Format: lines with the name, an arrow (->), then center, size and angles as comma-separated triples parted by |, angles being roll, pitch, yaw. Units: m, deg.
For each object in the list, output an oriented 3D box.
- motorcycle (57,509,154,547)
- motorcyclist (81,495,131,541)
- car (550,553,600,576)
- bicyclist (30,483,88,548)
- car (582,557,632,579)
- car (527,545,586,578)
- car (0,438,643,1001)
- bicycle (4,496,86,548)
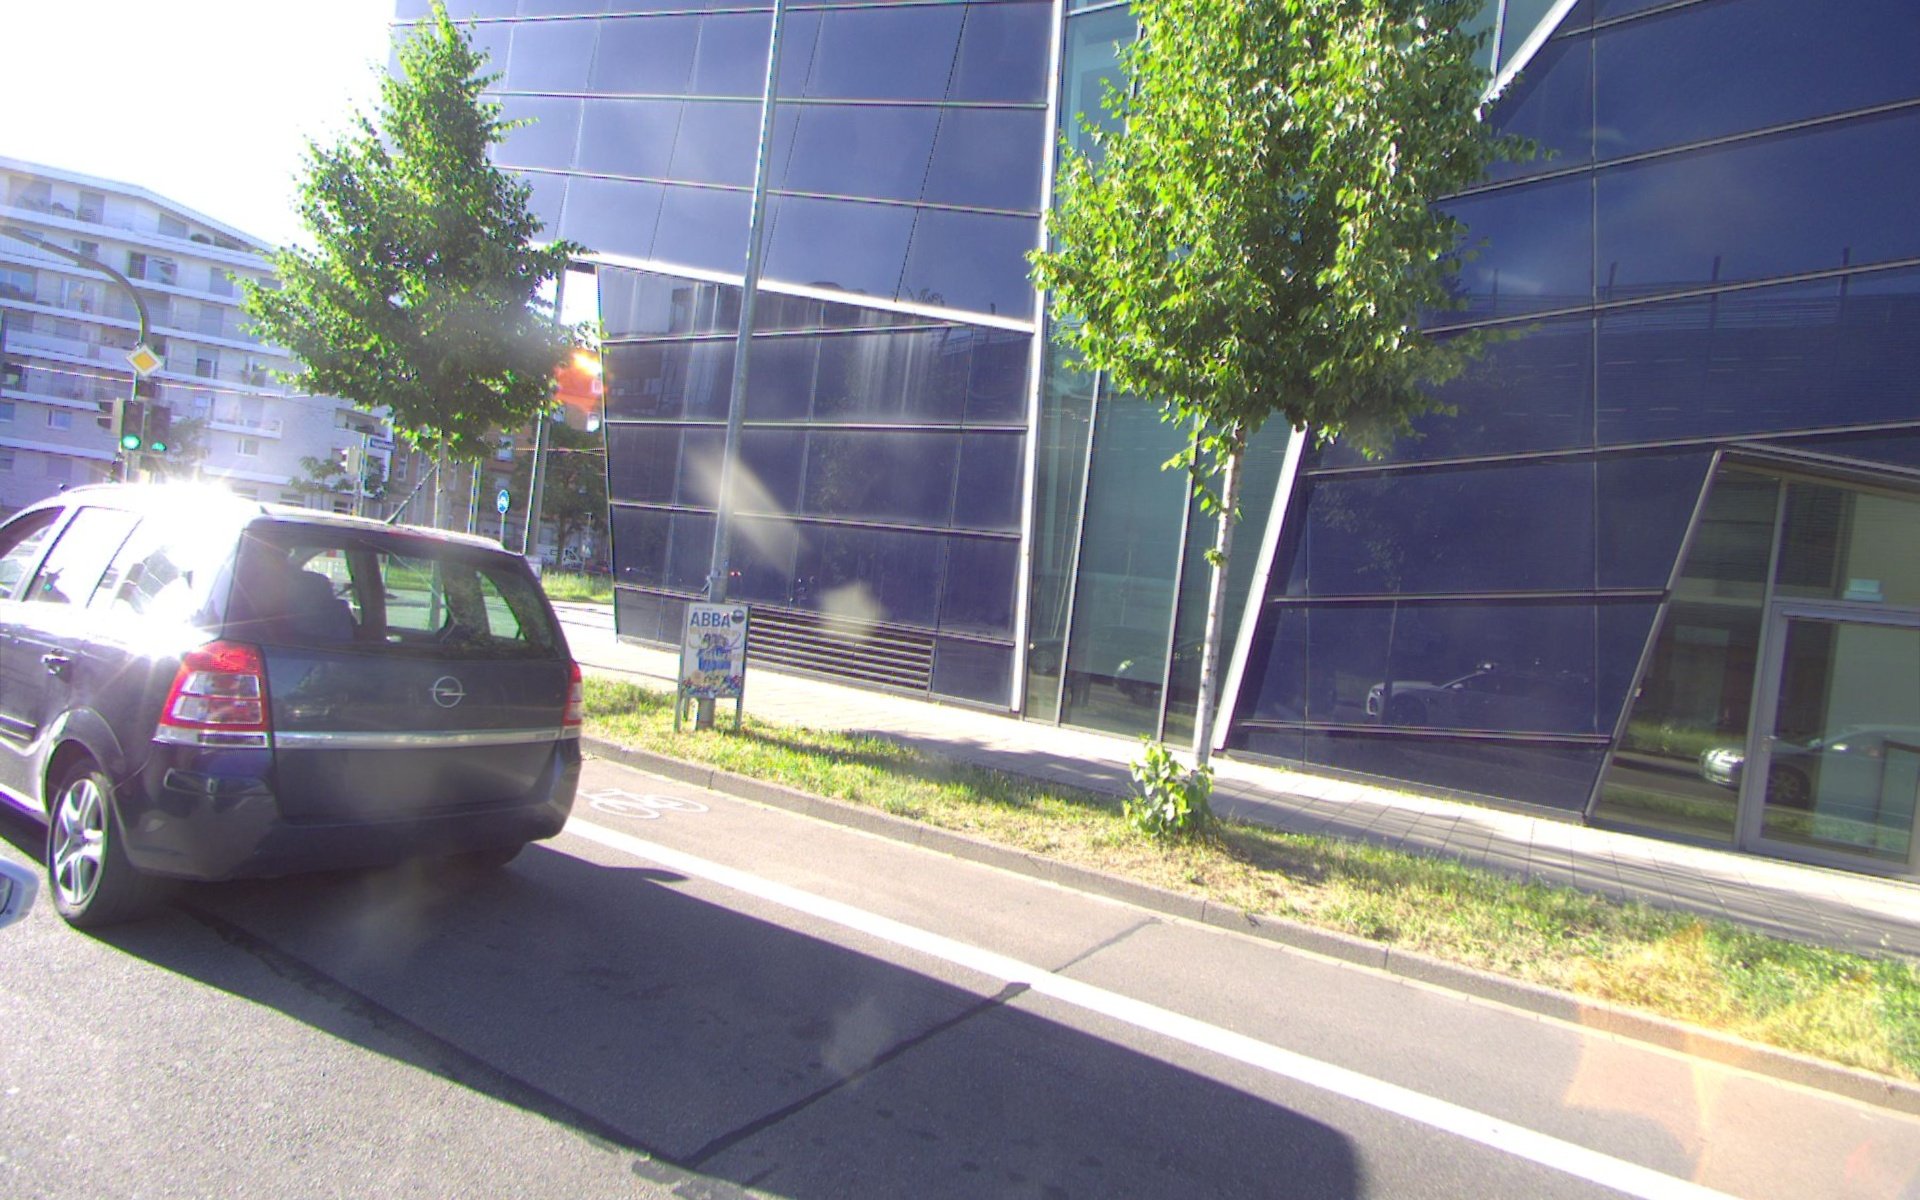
motorcycle -> -31.813, -2.662, 37.502 | 1.150, 1.013, 2.459 | 7, 0, 25
motorcyclist -> -31.790, -3.059, 37.452 | 1.150, 1.500, 0.927 | 7, 1, 25
car -> -30.538, -2.821, 79.787 | 3.944, 1.371, 1.990 | 6, 0, 41
bicyclist -> -26.499, -2.473, 29.592 | 0.912, 1.728, 0.768 | 7, 1, 16
car -> -28.473, -2.602, 81.122 | 3.944, 1.371, 1.990 | 6, 0, 41
car -> -35.168, -3.345, 87.774 | 4.541, 2.339, 1.989 | 7, 0, -23
car -> -3.766, 0.265, 4.945 | 4.190, 1.715, 1.749 | 7, -2, 32
bicycle -> -27.066, -2.301, 29.753 | 2.042, 1.278, 0.768 | 7, 1, 16
